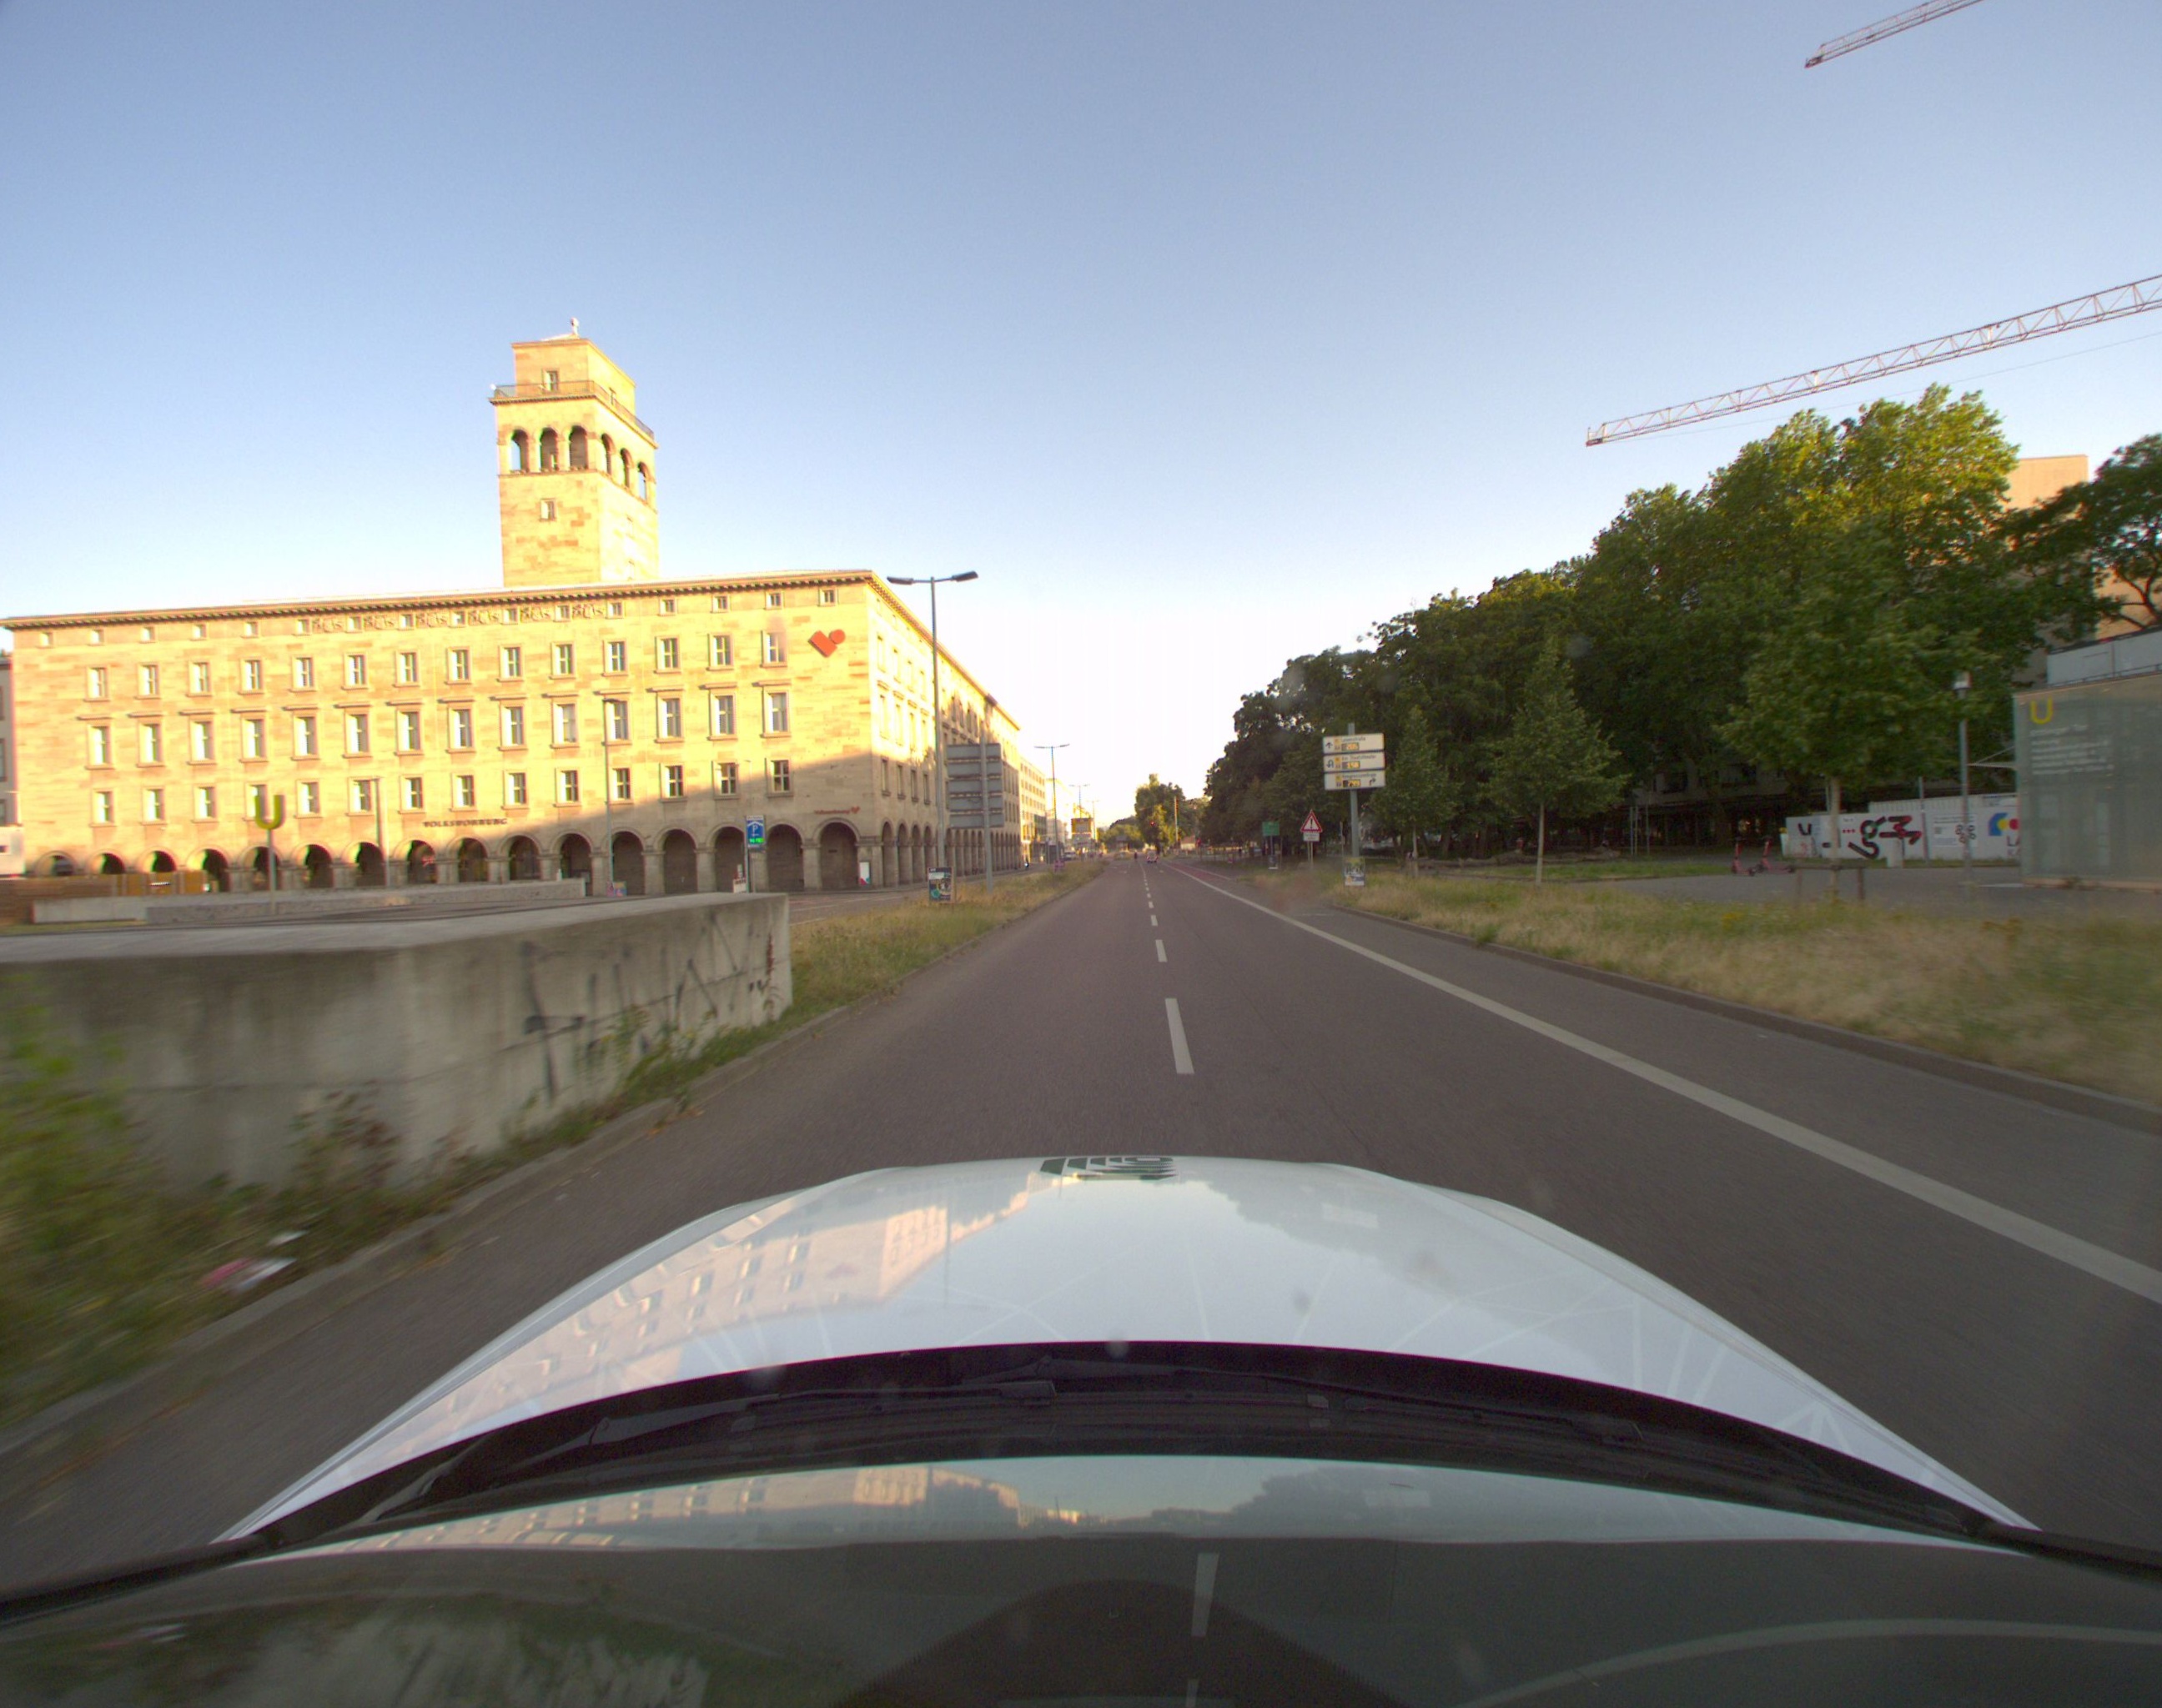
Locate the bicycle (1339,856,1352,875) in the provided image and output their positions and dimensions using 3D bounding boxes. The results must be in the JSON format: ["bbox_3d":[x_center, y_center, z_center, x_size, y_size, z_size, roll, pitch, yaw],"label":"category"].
[{"bbox_3d":[15.017,0.646,46.218,0.490,1.005,1.909,-5,-1,23],"label":"bicycle"}]

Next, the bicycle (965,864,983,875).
[{"bbox_3d":[-11.110,1.572,84.291,0.472,1.005,2.018,-3,0,39],"label":"bicycle"}]

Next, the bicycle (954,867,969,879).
[{"bbox_3d":[-11.614,1.849,79.268,0.473,1.005,2.016,-3,0,22],"label":"bicycle"}]

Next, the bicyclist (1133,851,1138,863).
[{"bbox_3d":[7.659,0.450,115.445,0.625,1.693,0.749,-3,-1,3],"label":"bicyclist"}]

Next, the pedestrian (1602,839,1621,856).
[{"bbox_3d":[37.693,-0.439,57.836,0.784,1.164,0.766,-3,-1,-2],"label":"pedestrian"}]

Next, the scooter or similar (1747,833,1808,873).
[{"bbox_3d":[22.501,-0.021,26.334,0.472,1.220,1.573,-5,0,-3],"label":"scooter or similar"}]

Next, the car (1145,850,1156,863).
[{"bbox_3d":[9.799,0.301,115.075,1.452,1.781,2.569,-2,0,6],"label":"car"}]

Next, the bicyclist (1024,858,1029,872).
[{"bbox_3d":[-6.935,1.396,104.103,0.535,1.693,0.748,-3,-1,-2],"label":"bicyclist"}]

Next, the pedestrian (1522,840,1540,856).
[{"bbox_3d":[38.269,-0.529,69.259,1.126,1.260,0.727,-3,0,5],"label":"pedestrian"}]

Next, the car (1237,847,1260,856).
[{"bbox_3d":[31.050,-0.438,151.084,3.967,1.574,2.004,-3,0,6],"label":"car"}]

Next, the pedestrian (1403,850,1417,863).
[{"bbox_3d":[23.563,0.201,58.408,0.681,0.884,0.589,-2,0,-21],"label":"pedestrian"}]

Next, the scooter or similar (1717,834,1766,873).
[{"bbox_3d":[21.331,-0.021,26.310,0.421,1.220,1.400,-5,0,4],"label":"scooter or similar"}]

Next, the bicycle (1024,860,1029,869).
[{"bbox_3d":[-6.931,1.334,104.032,0.540,1.005,2.004,-2,0,-1],"label":"bicycle"}]

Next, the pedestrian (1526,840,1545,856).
[{"bbox_3d":[38.111,-0.514,68.315,1.126,1.260,0.907,-3,0,6],"label":"pedestrian"}]

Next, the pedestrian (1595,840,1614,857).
[{"bbox_3d":[37.745,-0.366,58.698,0.784,1.164,0.766,-3,-1,-2],"label":"pedestrian"}]

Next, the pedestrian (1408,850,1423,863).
[{"bbox_3d":[23.755,0.186,57.821,0.681,0.884,0.619,-2,0,-20],"label":"pedestrian"}]

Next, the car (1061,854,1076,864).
[{"bbox_3d":[-3.078,1.229,205.253,2.160,2.385,6.012,-3,-3,15],"label":"car"}]

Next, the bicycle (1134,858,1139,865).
[{"bbox_3d":[7.867,1.049,115.673,0.634,1.069,2.071,-2,0,3],"label":"bicycle"}]
